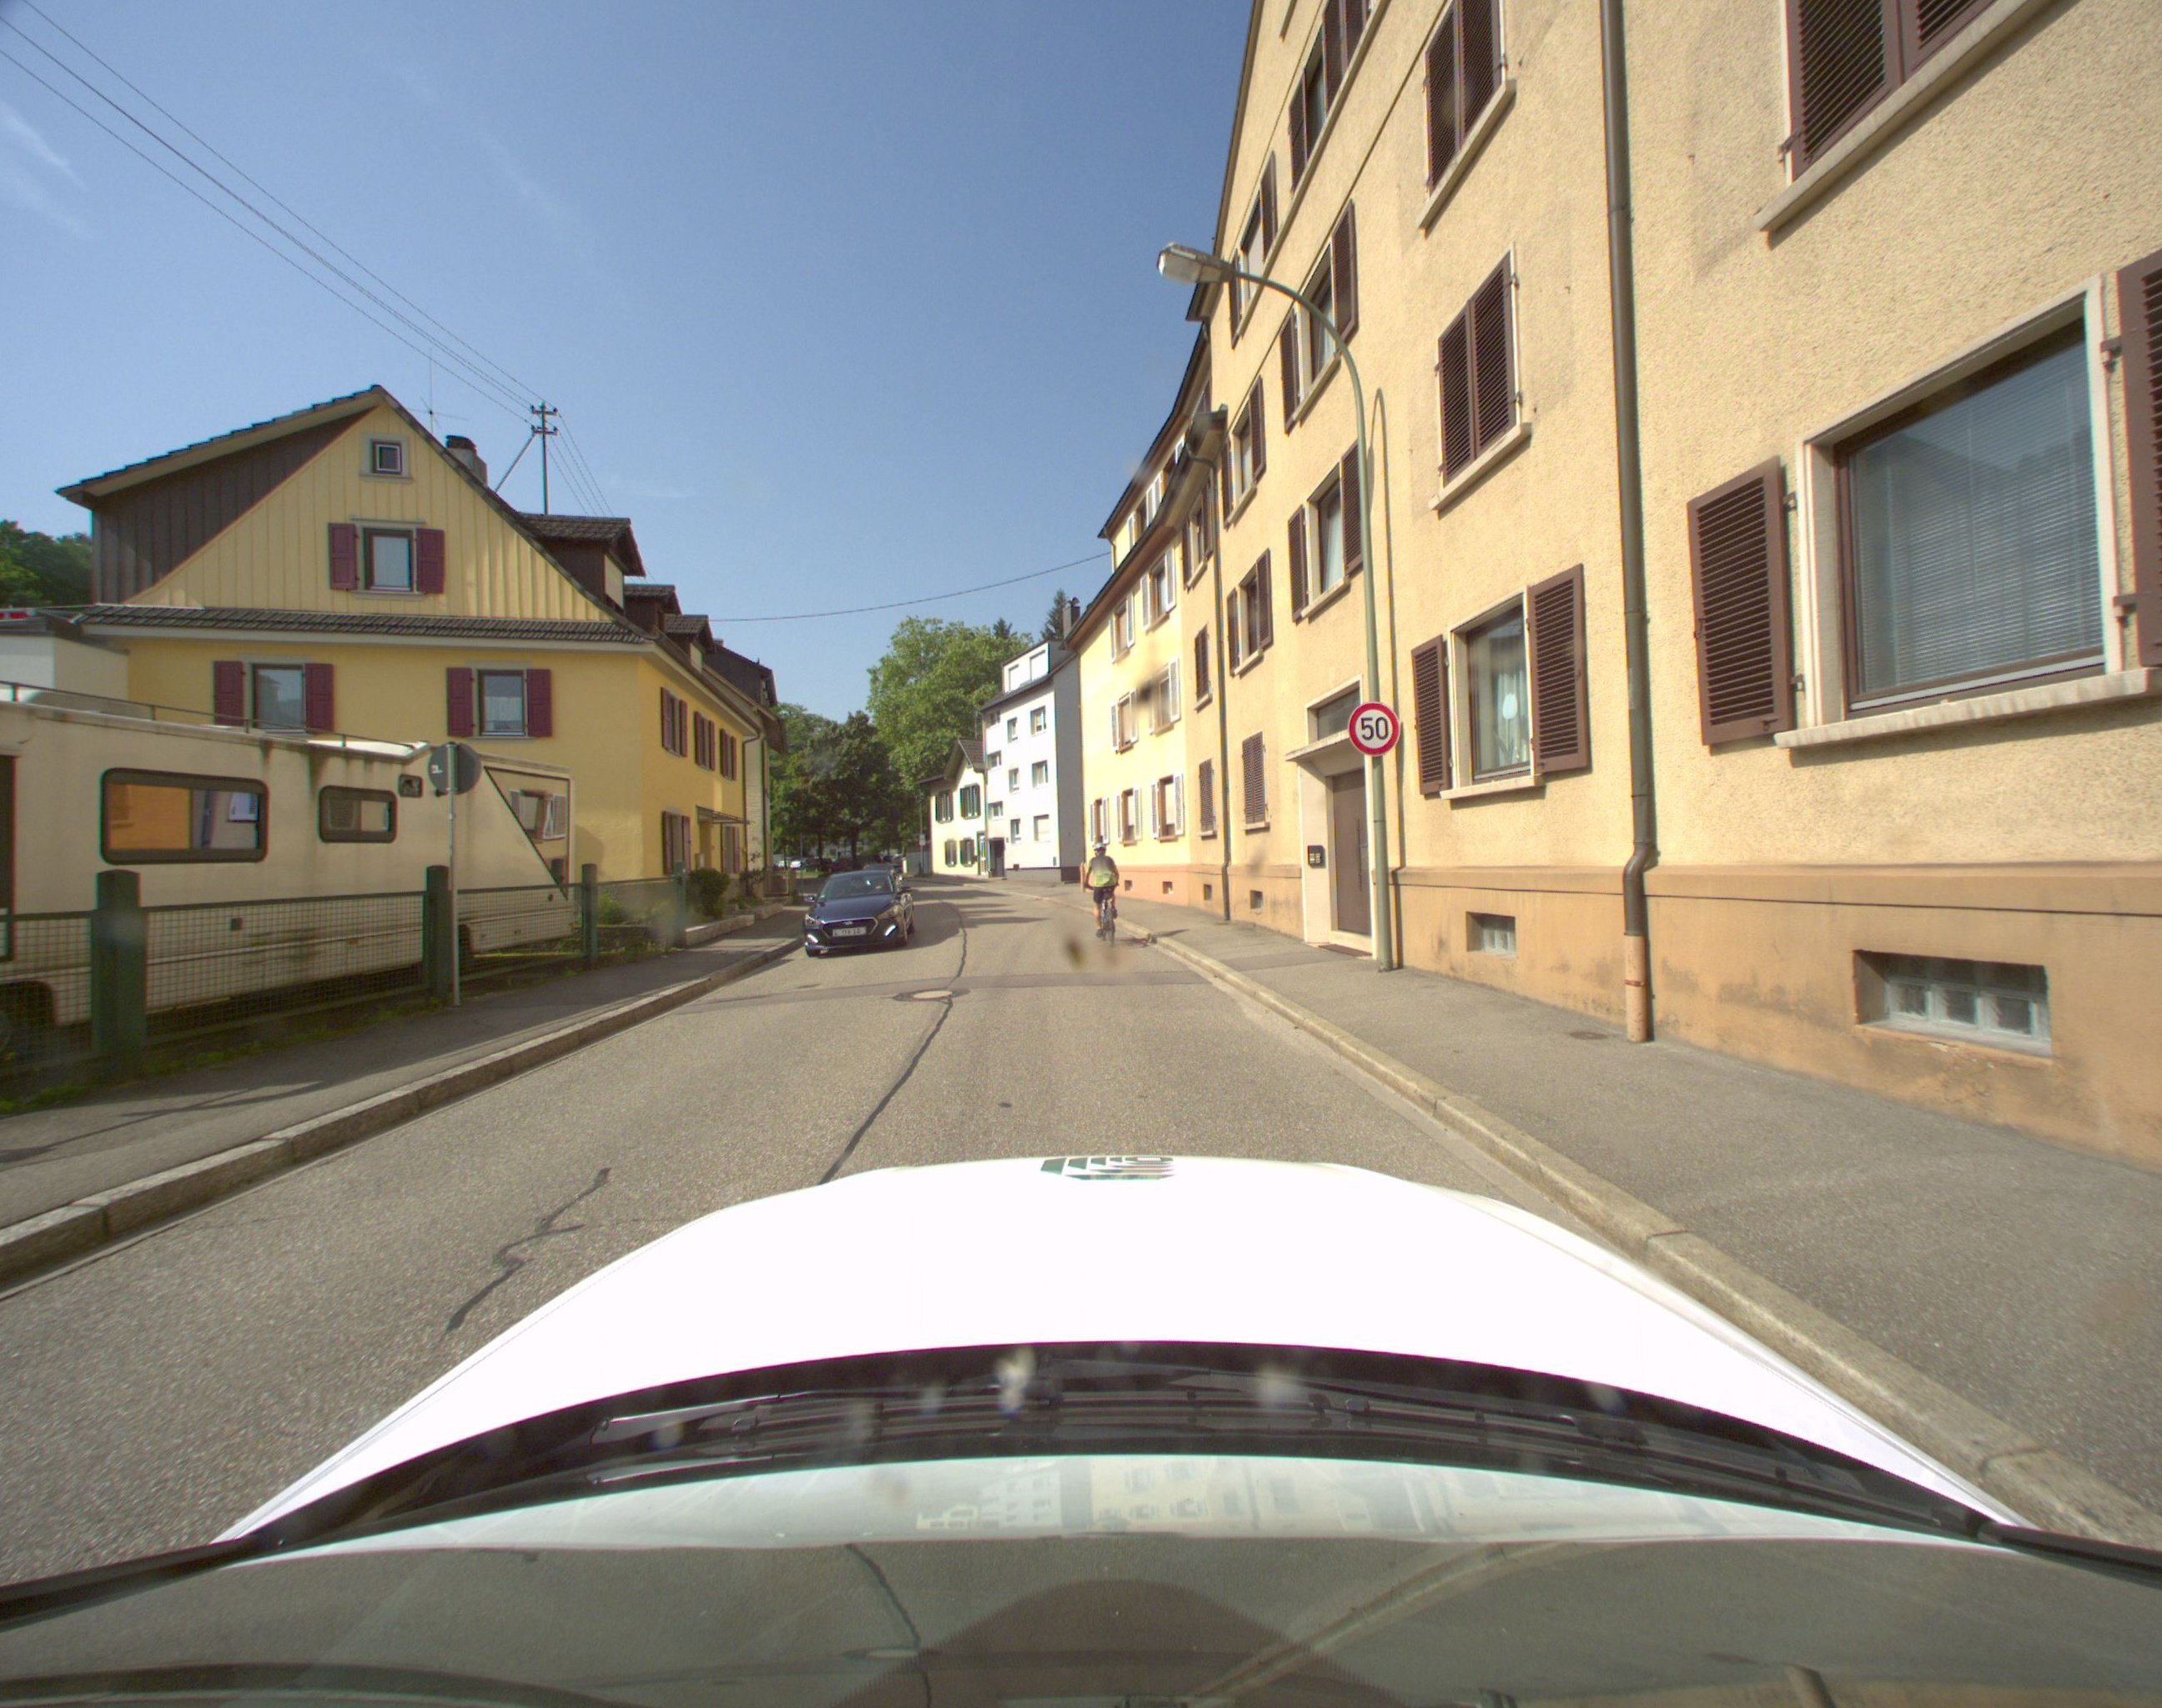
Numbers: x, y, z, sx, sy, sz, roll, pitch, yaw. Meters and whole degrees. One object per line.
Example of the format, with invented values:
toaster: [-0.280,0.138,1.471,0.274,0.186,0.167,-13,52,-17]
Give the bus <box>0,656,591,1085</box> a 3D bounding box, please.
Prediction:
bus: [-9.620,0.140,9.268,2.812,3.228,9.030,0,0,-2]

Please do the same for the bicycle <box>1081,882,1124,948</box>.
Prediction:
bicycle: [0.359,1.041,14.258,0.696,1.035,1.471,-1,0,0]

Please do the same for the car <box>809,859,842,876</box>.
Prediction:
car: [-25.752,1.346,82.018,1.723,1.542,3.954,-3,2,-39]

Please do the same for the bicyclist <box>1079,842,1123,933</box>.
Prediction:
bicyclist: [0.344,0.573,14.259,0.683,1.531,0.715,-3,-1,-1]

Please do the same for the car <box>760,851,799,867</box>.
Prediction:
car: [-38.222,0.615,103.448,1.976,1.855,4.726,-2,0,22]

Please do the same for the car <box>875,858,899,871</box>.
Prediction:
car: [-20.352,1.144,85.337,1.591,1.257,3.824,-3,1,-26]

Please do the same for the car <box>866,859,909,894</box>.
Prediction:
car: [-9.377,1.052,39.279,1.663,1.449,4.234,-5,1,-16]

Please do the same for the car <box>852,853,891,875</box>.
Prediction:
car: [-18.657,0.877,72.431,1.837,1.791,3.954,-3,2,-39]

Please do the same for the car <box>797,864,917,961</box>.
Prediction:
car: [-4.242,1.020,15.984,1.747,1.453,4.014,-5,1,-9]

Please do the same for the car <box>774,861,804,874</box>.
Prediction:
car: [-35.812,1.664,100.096,1.800,1.552,4.008,-2,0,7]
